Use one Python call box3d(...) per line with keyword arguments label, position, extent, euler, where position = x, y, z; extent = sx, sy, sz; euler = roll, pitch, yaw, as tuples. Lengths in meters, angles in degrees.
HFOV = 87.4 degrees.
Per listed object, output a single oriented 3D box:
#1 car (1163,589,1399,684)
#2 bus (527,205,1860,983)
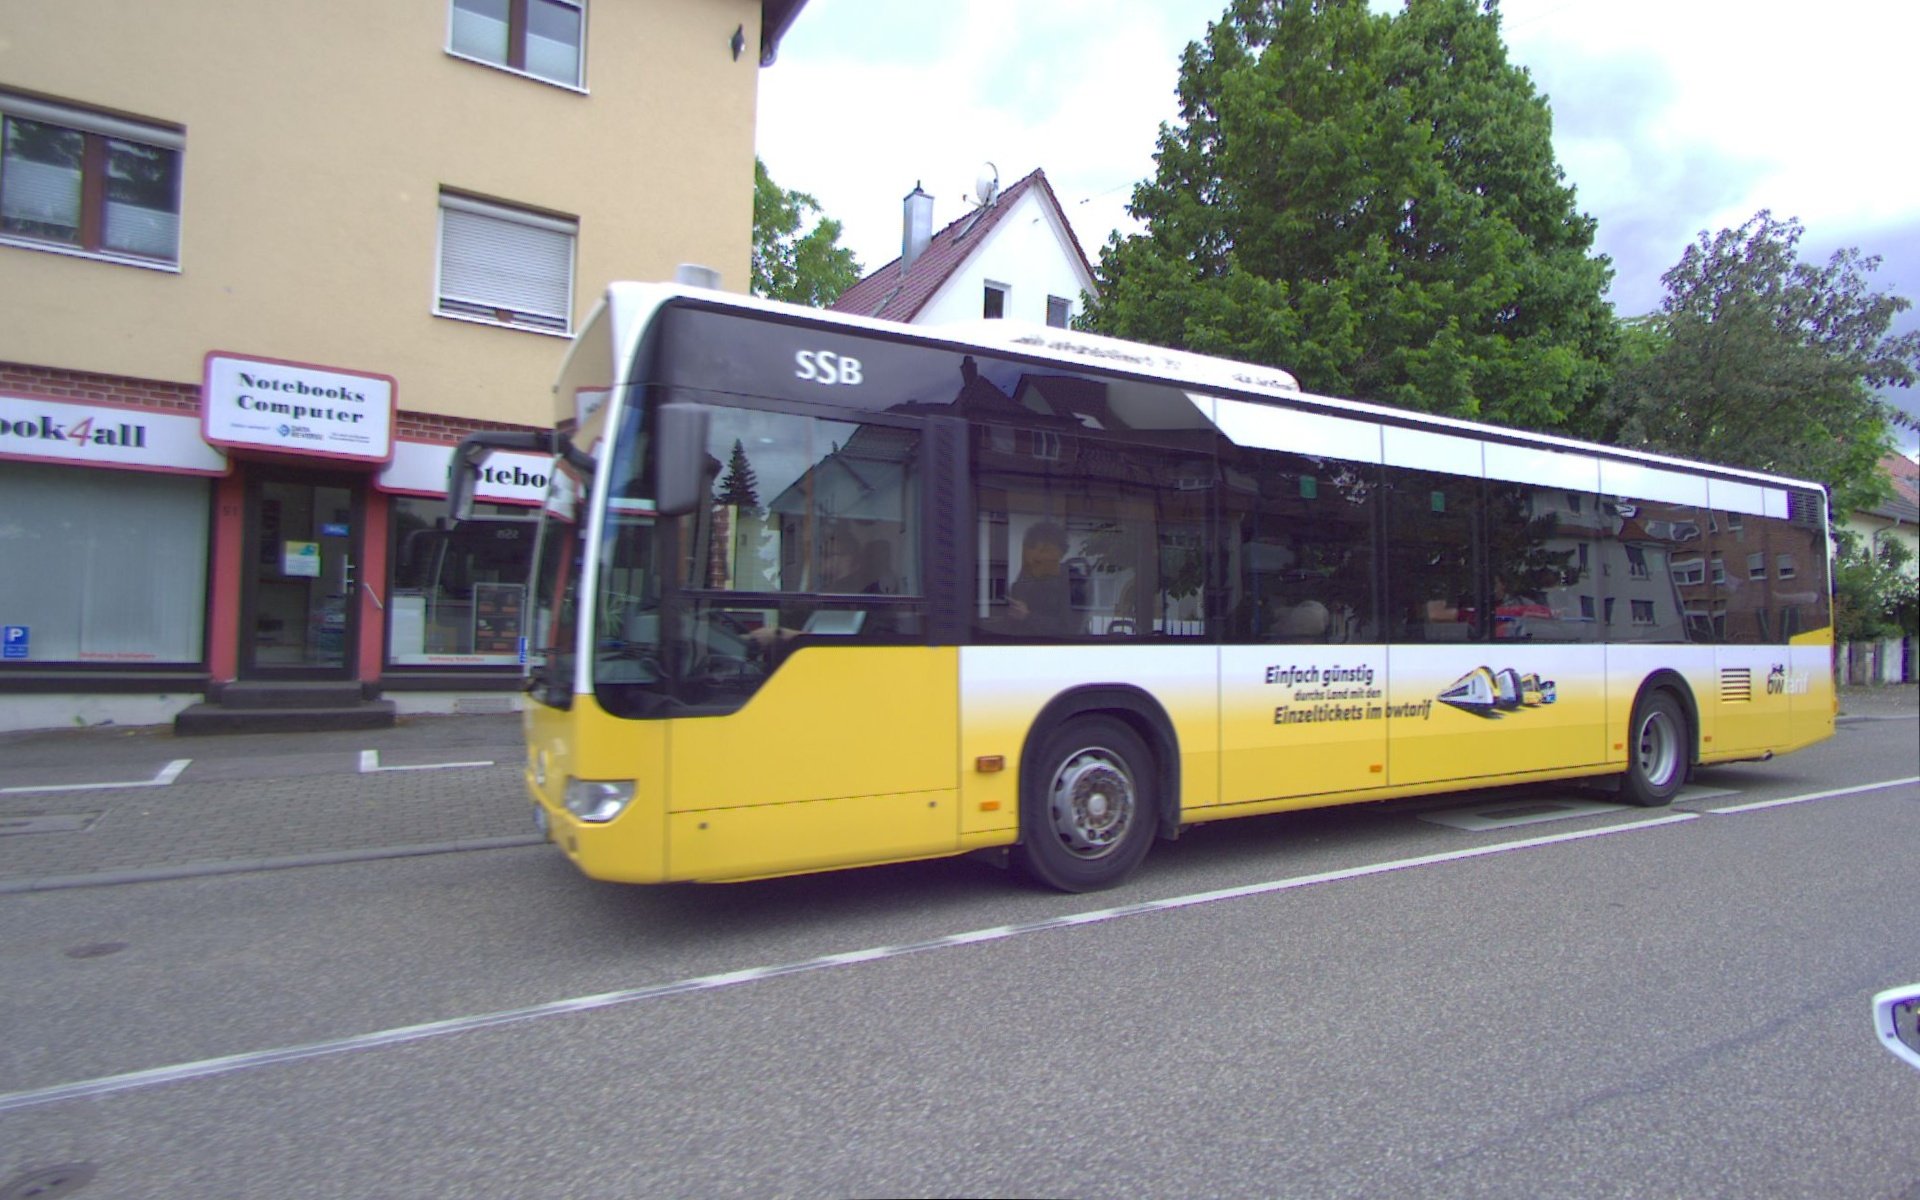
box3d(label="car", position=(6.101, 0.691, 18.907), extent=(4.570, 1.585, 1.796), euler=(1, -3, -34))
box3d(label="bus", position=(3.098, 0.130, 8.150), extent=(11.925, 3.126, 2.620), euler=(1, -2, -30))
